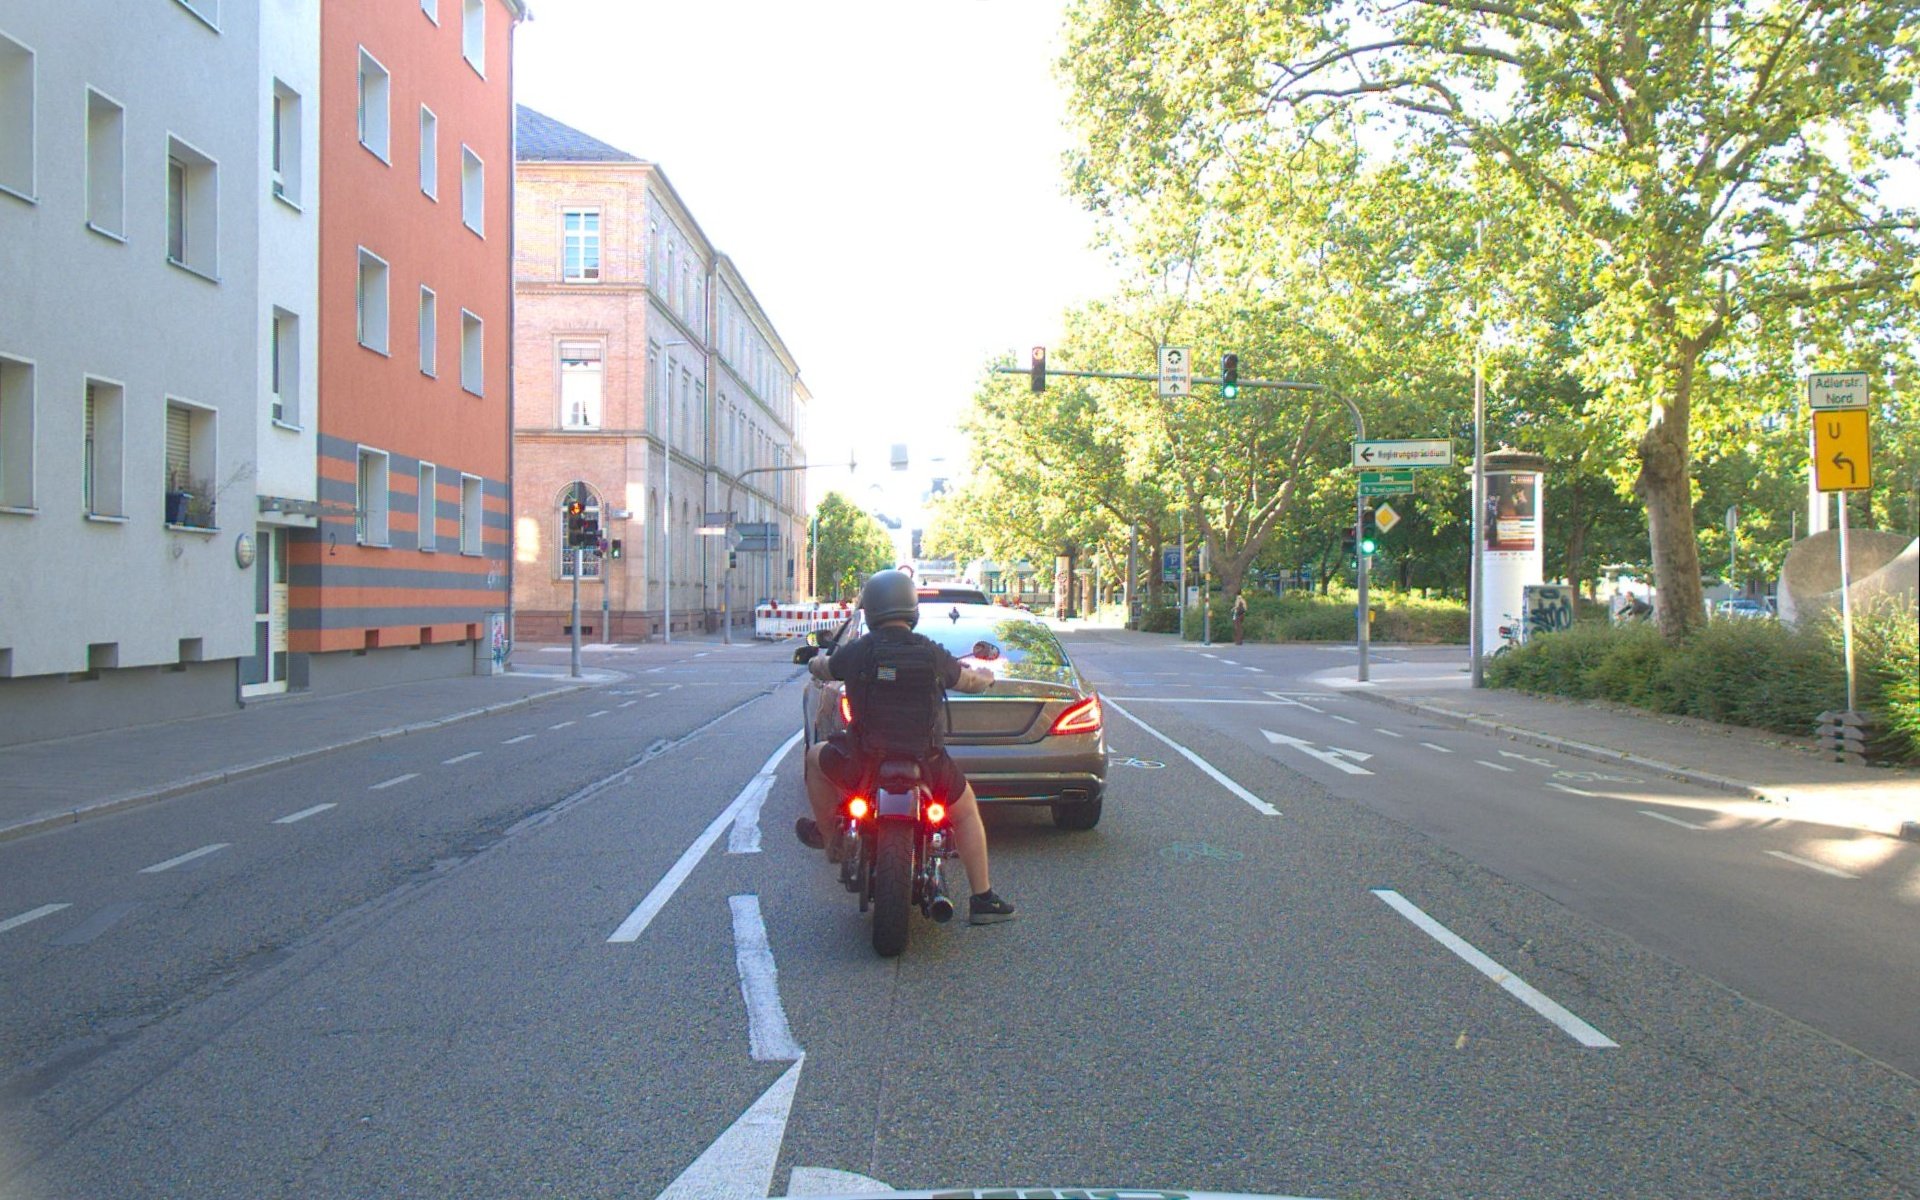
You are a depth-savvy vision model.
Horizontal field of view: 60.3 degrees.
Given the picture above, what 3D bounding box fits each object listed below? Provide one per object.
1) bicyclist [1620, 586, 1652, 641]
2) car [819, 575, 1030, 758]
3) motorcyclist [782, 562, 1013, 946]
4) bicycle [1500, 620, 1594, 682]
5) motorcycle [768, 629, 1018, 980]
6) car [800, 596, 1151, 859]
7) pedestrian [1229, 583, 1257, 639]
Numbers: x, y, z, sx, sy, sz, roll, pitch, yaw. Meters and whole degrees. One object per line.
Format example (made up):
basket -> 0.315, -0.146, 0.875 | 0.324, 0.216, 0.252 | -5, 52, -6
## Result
bicyclist -> 19.962, 0.391, 48.825 | 0.715, 1.610, 0.597 | 1, -1, 5
car -> -0.359, 0.635, 17.546 | 1.953, 1.695, 3.999 | 1, 0, -1
motorcyclist -> -0.270, 0.641, 7.546 | 0.961, 1.606, 1.248 | 0, 0, -1
bicycle -> 9.790, 0.843, 27.603 | 1.452, 0.997, 0.299 | 1, -1, 5
motorcycle -> -0.274, 0.807, 7.564 | 0.961, 1.297, 2.407 | 0, 0, -1
car -> -0.111, 0.711, 11.626 | 1.834, 1.469, 4.422 | 0, 0, -8
pedestrian -> 9.157, 0.356, 53.557 | 0.668, 1.803, 0.613 | 0, -1, 43
